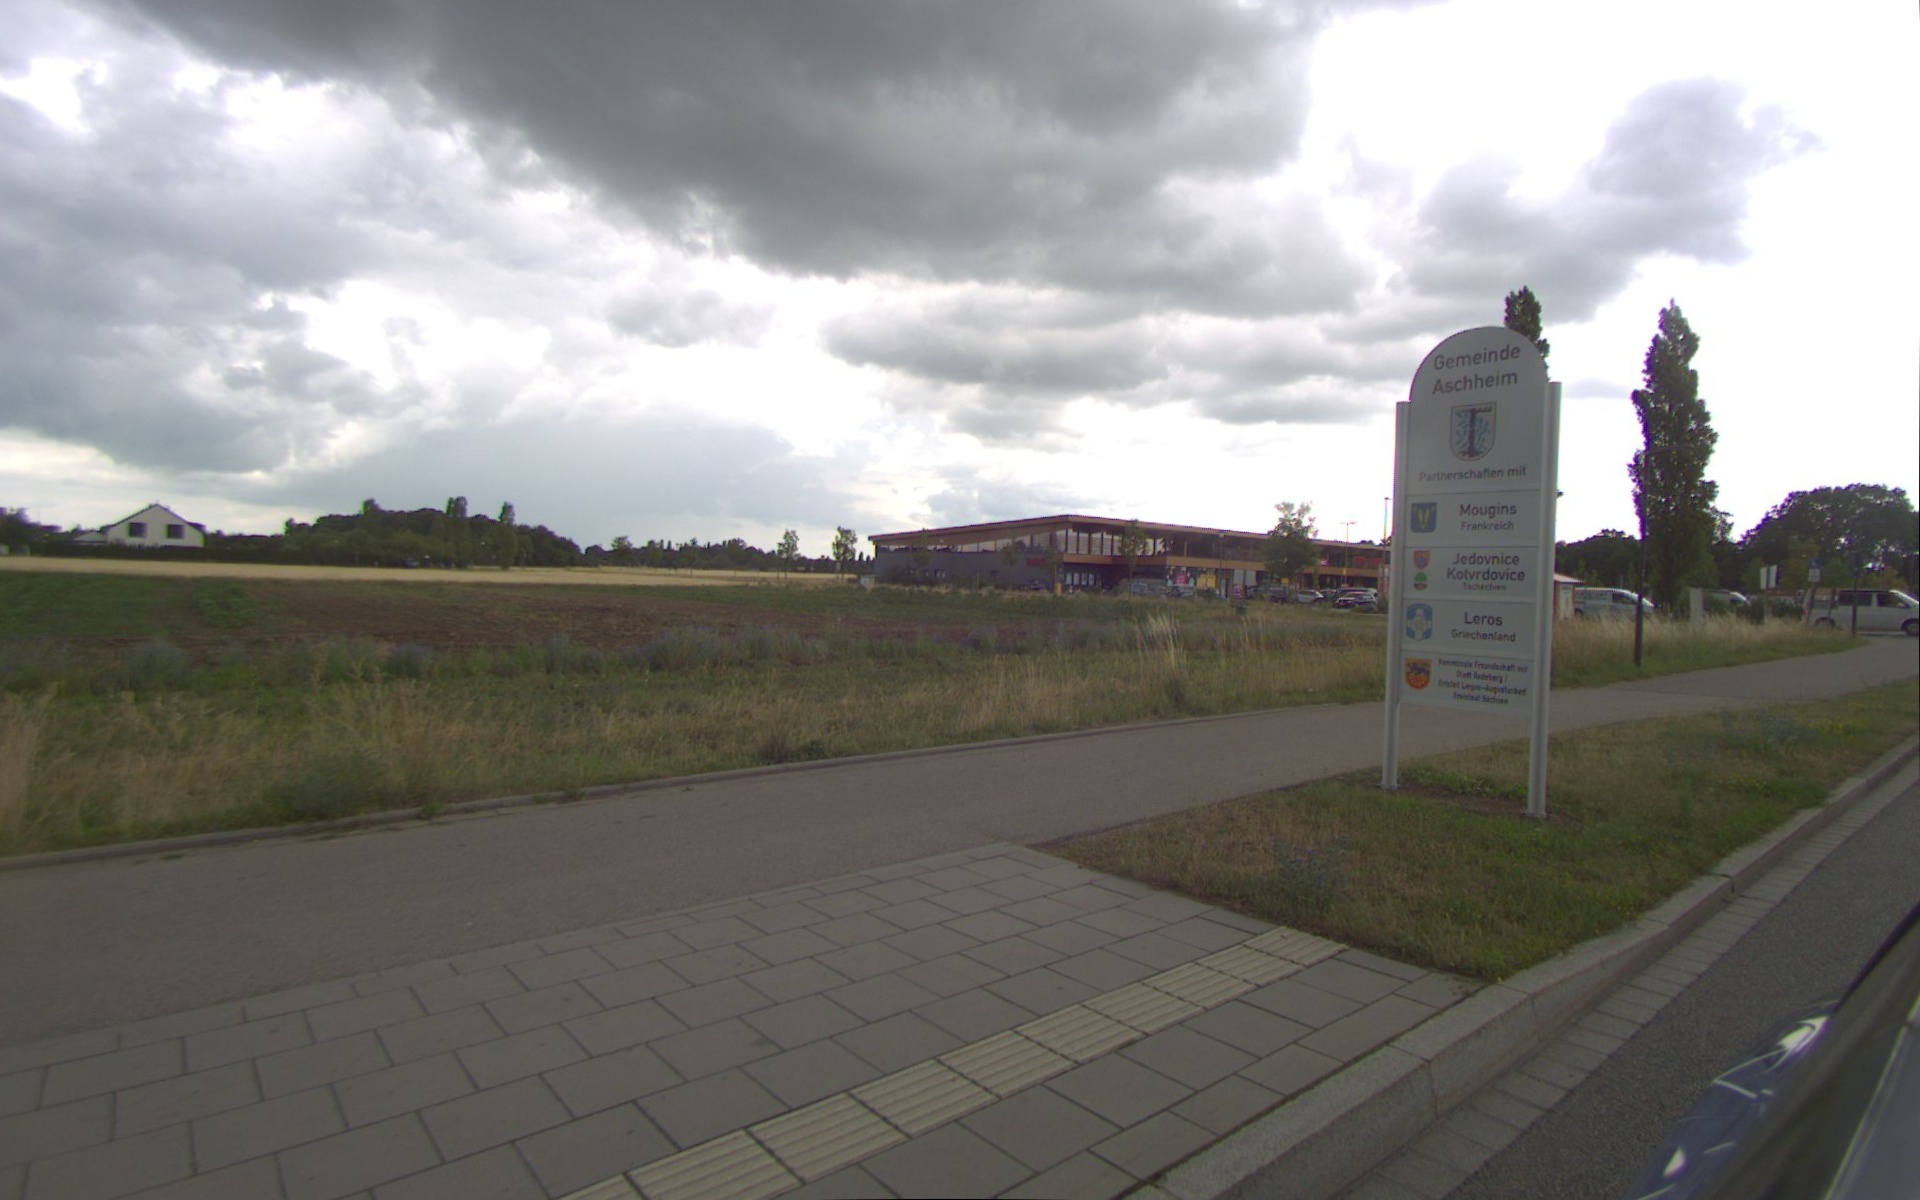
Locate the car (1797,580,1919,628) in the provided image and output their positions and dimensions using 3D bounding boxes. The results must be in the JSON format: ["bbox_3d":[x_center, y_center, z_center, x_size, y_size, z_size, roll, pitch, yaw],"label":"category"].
[{"bbox_3d":[40.680,0.158,44.732,2.516,2.039,5.312,-1,1,-39],"label":"car"}]

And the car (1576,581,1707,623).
[{"bbox_3d":[35.085,0.066,52.219,1.964,2.039,5.312,0,1,-39],"label":"car"}]

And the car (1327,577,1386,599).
[{"bbox_3d":[37.025,-1.125,94.604,4.840,2.039,1.970,1,1,43],"label":"car"}]

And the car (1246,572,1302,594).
[{"bbox_3d":[30.121,-1.618,97.214,4.840,2.039,1.970,1,1,43],"label":"car"}]

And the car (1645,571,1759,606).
[{"bbox_3d":[45.853,-0.706,62.613,5.510,2.039,1.969,1,1,44],"label":"car"}]

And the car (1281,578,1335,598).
[{"bbox_3d":[34.962,-1.218,101.734,4.840,2.039,1.970,1,1,43],"label":"car"}]

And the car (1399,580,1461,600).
[{"bbox_3d":[48.351,-1.044,104.132,5.510,2.039,1.969,1,1,44],"label":"car"}]
